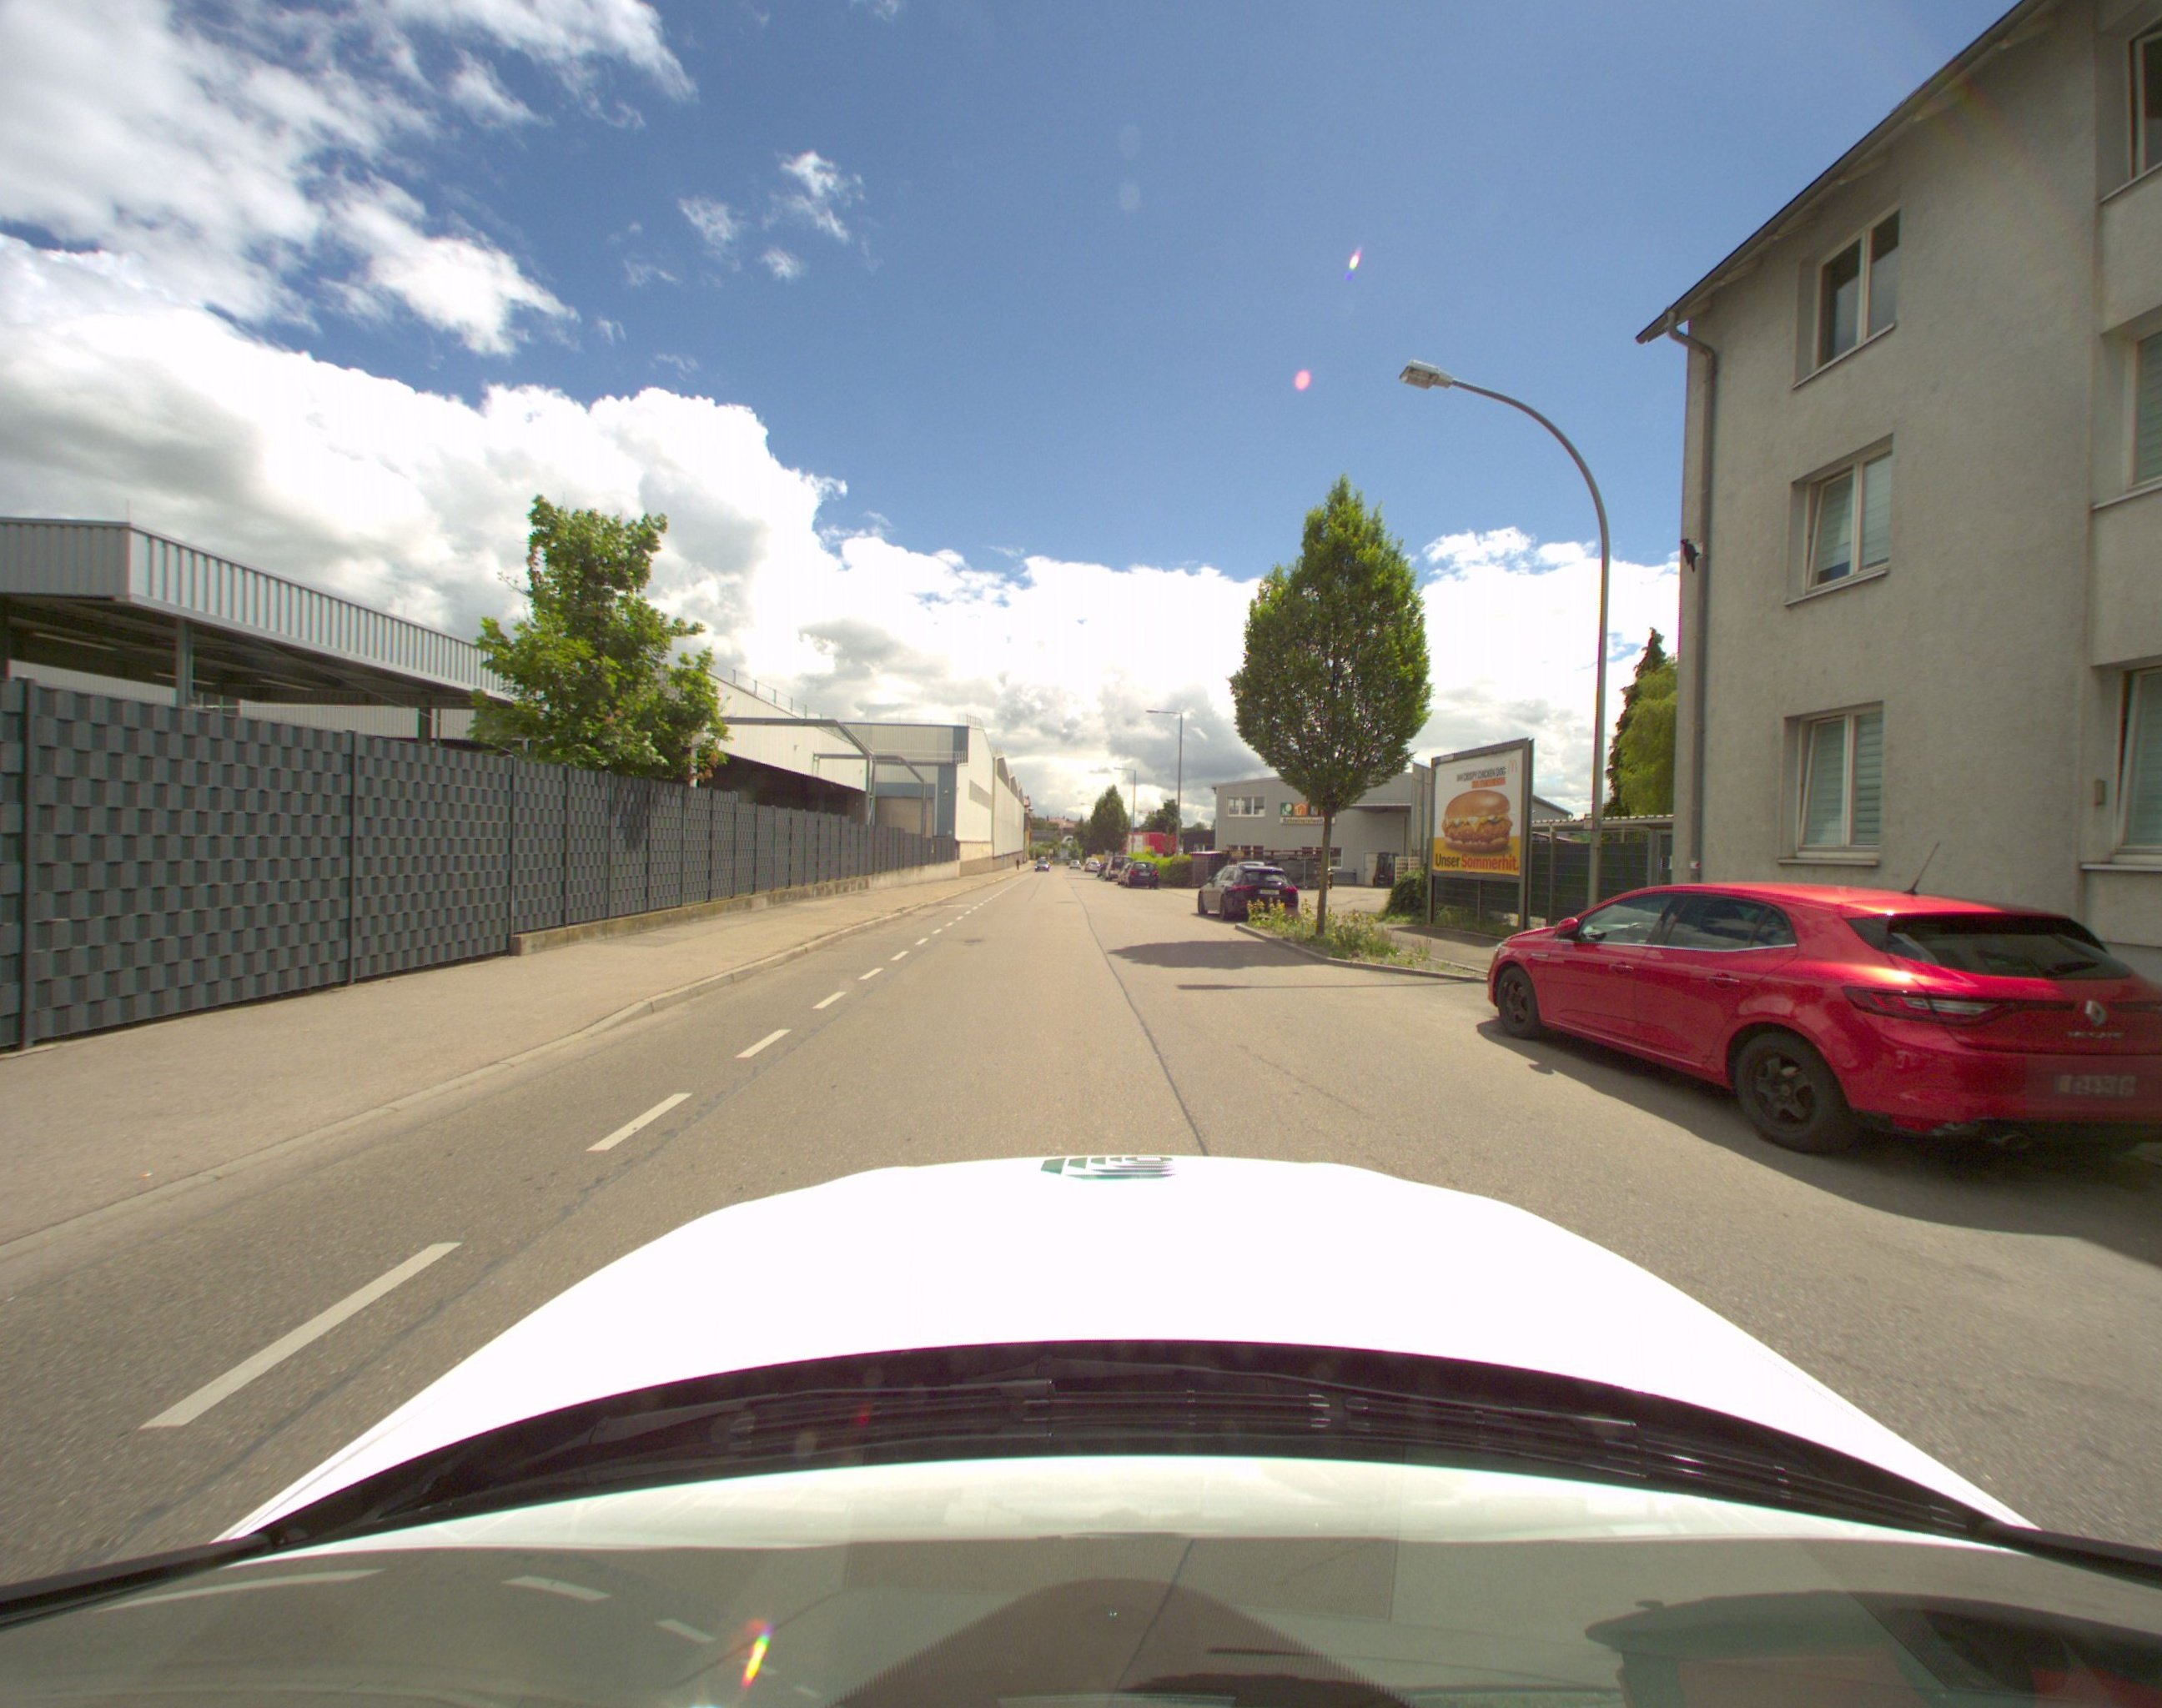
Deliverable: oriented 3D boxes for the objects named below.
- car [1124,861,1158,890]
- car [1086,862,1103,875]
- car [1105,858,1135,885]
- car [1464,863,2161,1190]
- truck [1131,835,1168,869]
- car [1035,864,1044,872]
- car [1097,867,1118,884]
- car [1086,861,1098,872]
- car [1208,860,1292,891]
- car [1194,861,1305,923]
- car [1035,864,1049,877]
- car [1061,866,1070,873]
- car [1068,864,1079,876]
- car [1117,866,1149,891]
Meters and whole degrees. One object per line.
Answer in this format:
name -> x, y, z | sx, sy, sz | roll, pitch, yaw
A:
car -> 3.536, 1.289, 48.544 | 1.674, 1.638, 4.121 | 1, -1, 0
car -> 1.761, 1.923, 107.591 | 1.699, 1.528, 3.730 | 4, -1, -5
car -> 3.007, 1.335, 63.492 | 1.864, 1.990, 5.139 | 1, -1, -2
car -> 4.710, 0.845, 5.959 | 1.730, 1.472, 4.259 | 2, 0, -1
truck -> 9.583, -0.237, 115.032 | 2.580, 4.450, 7.816 | 2, -3, -17
car -> -8.940, 2.975, 173.771 | 1.848, 1.486, 3.995 | 1, -3, -2
car -> 2.507, 2.025, 77.256 | 1.710, 1.474, 4.507 | 1, -1, -2
car -> 1.535, 1.816, 118.205 | 1.696, 1.528, 3.737 | 1, -1, 0
car -> 8.720, 1.129, 42.382 | 1.734, 1.463, 4.026 | -2, -1, -40
car -> 4.400, 0.965, 22.025 | 1.787, 1.466, 4.702 | 1, -1, -3
car -> -5.099, 2.187, 105.591 | 1.715, 1.556, 4.283 | -2, -2, -2
car -> -3.480, 3.461, 185.533 | 1.848, 1.486, 3.995 | 1, -3, -2
car -> -1.241, 2.657, 132.935 | 1.563, 1.786, 3.602 | 1, -3, -2
car -> 3.389, 1.607, 53.574 | 1.651, 1.540, 4.730 | 1, -1, -2
